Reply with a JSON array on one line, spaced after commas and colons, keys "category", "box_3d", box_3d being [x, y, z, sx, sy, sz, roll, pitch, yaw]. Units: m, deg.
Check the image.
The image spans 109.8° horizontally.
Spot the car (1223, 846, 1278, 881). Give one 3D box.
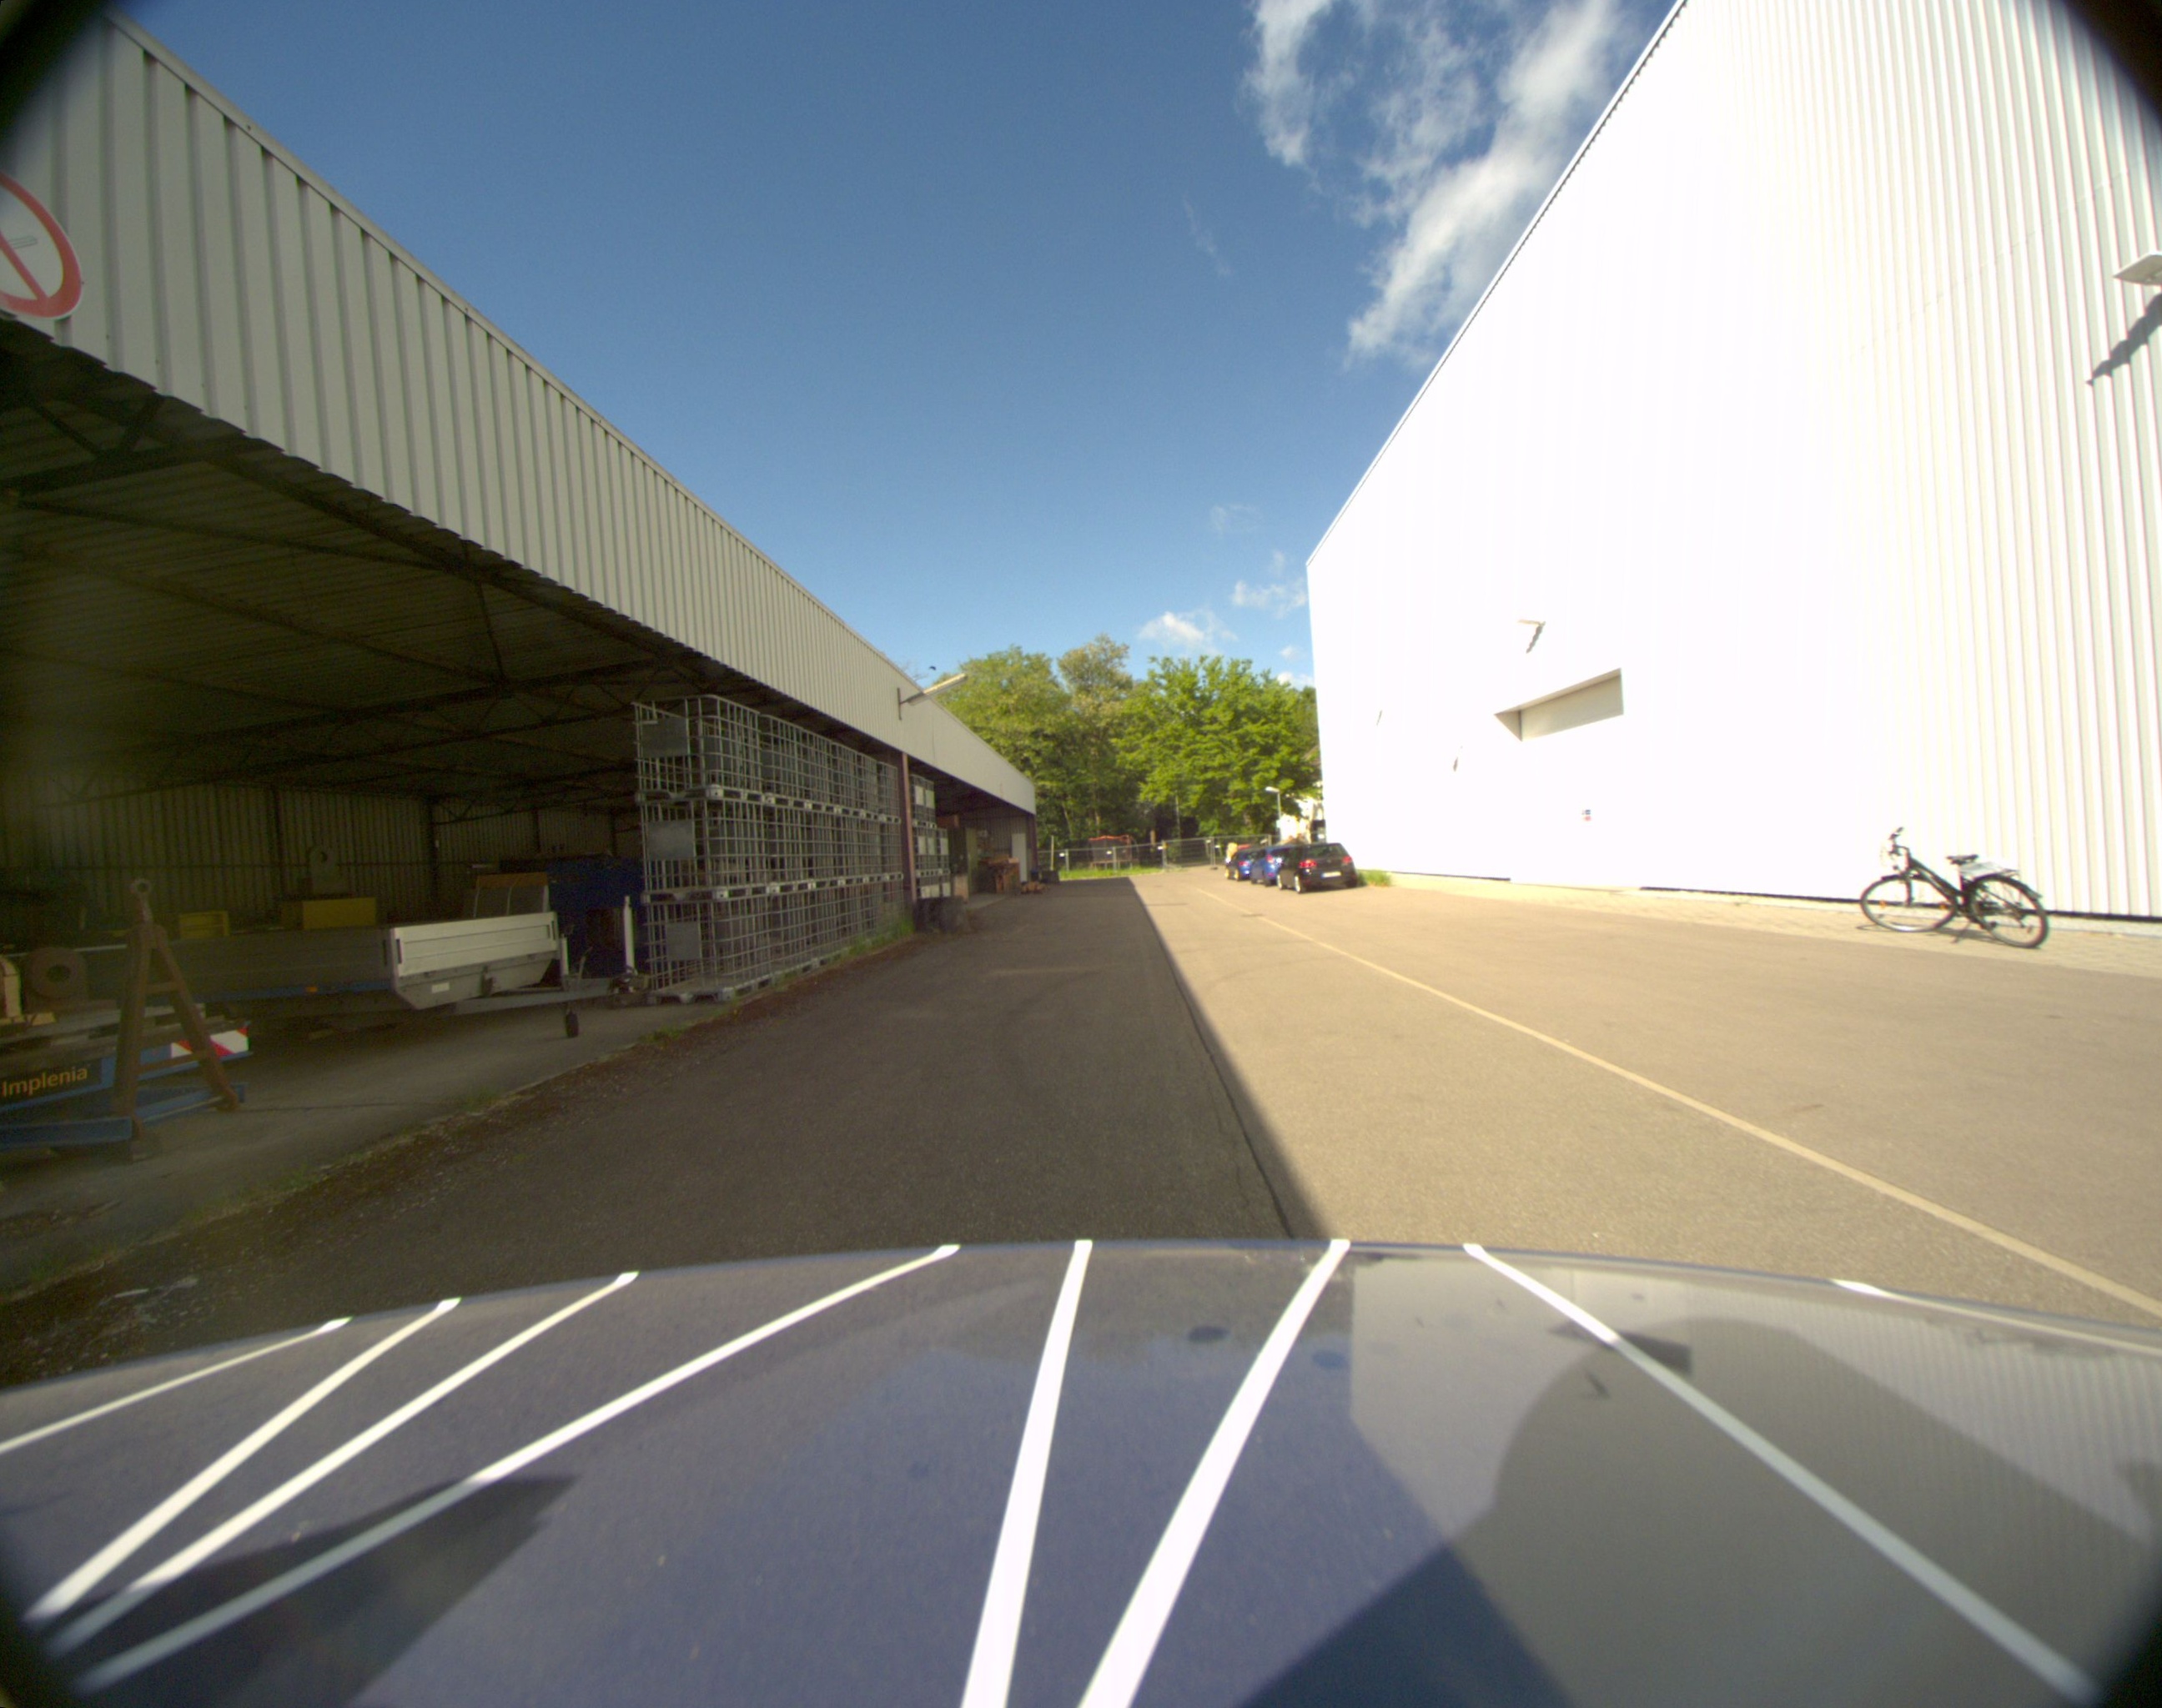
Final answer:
[{"category": "car", "box_3d": [7.609, 0.385, 34.409, 1.789, 1.431, 4.001, -3, 0, 4]}]

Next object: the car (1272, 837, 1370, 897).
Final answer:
[{"category": "car", "box_3d": [7.348, 0.366, 23.655, 1.895, 1.513, 4.001, -7, 0, 4]}]

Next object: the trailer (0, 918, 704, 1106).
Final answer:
[{"category": "trailer", "box_3d": [-6.923, 1.369, 7.013, 5.836, 1.113, 2.029, -3, 0, 2]}]

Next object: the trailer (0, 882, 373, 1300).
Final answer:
[{"category": "trailer", "box_3d": [-6.807, 1.107, 3.654, 4.879, 1.619, 2.029, -3, 0, 2]}]

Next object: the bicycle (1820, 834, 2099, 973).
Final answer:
[{"category": "bicycle", "box_3d": [8.665, 0.429, 7.658, 0.909, 1.136, 1.901, -7, 0, 18]}]

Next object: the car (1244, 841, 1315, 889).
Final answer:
[{"category": "car", "box_3d": [7.460, 0.368, 28.907, 1.789, 1.513, 4.001, -7, 0, 4]}]
